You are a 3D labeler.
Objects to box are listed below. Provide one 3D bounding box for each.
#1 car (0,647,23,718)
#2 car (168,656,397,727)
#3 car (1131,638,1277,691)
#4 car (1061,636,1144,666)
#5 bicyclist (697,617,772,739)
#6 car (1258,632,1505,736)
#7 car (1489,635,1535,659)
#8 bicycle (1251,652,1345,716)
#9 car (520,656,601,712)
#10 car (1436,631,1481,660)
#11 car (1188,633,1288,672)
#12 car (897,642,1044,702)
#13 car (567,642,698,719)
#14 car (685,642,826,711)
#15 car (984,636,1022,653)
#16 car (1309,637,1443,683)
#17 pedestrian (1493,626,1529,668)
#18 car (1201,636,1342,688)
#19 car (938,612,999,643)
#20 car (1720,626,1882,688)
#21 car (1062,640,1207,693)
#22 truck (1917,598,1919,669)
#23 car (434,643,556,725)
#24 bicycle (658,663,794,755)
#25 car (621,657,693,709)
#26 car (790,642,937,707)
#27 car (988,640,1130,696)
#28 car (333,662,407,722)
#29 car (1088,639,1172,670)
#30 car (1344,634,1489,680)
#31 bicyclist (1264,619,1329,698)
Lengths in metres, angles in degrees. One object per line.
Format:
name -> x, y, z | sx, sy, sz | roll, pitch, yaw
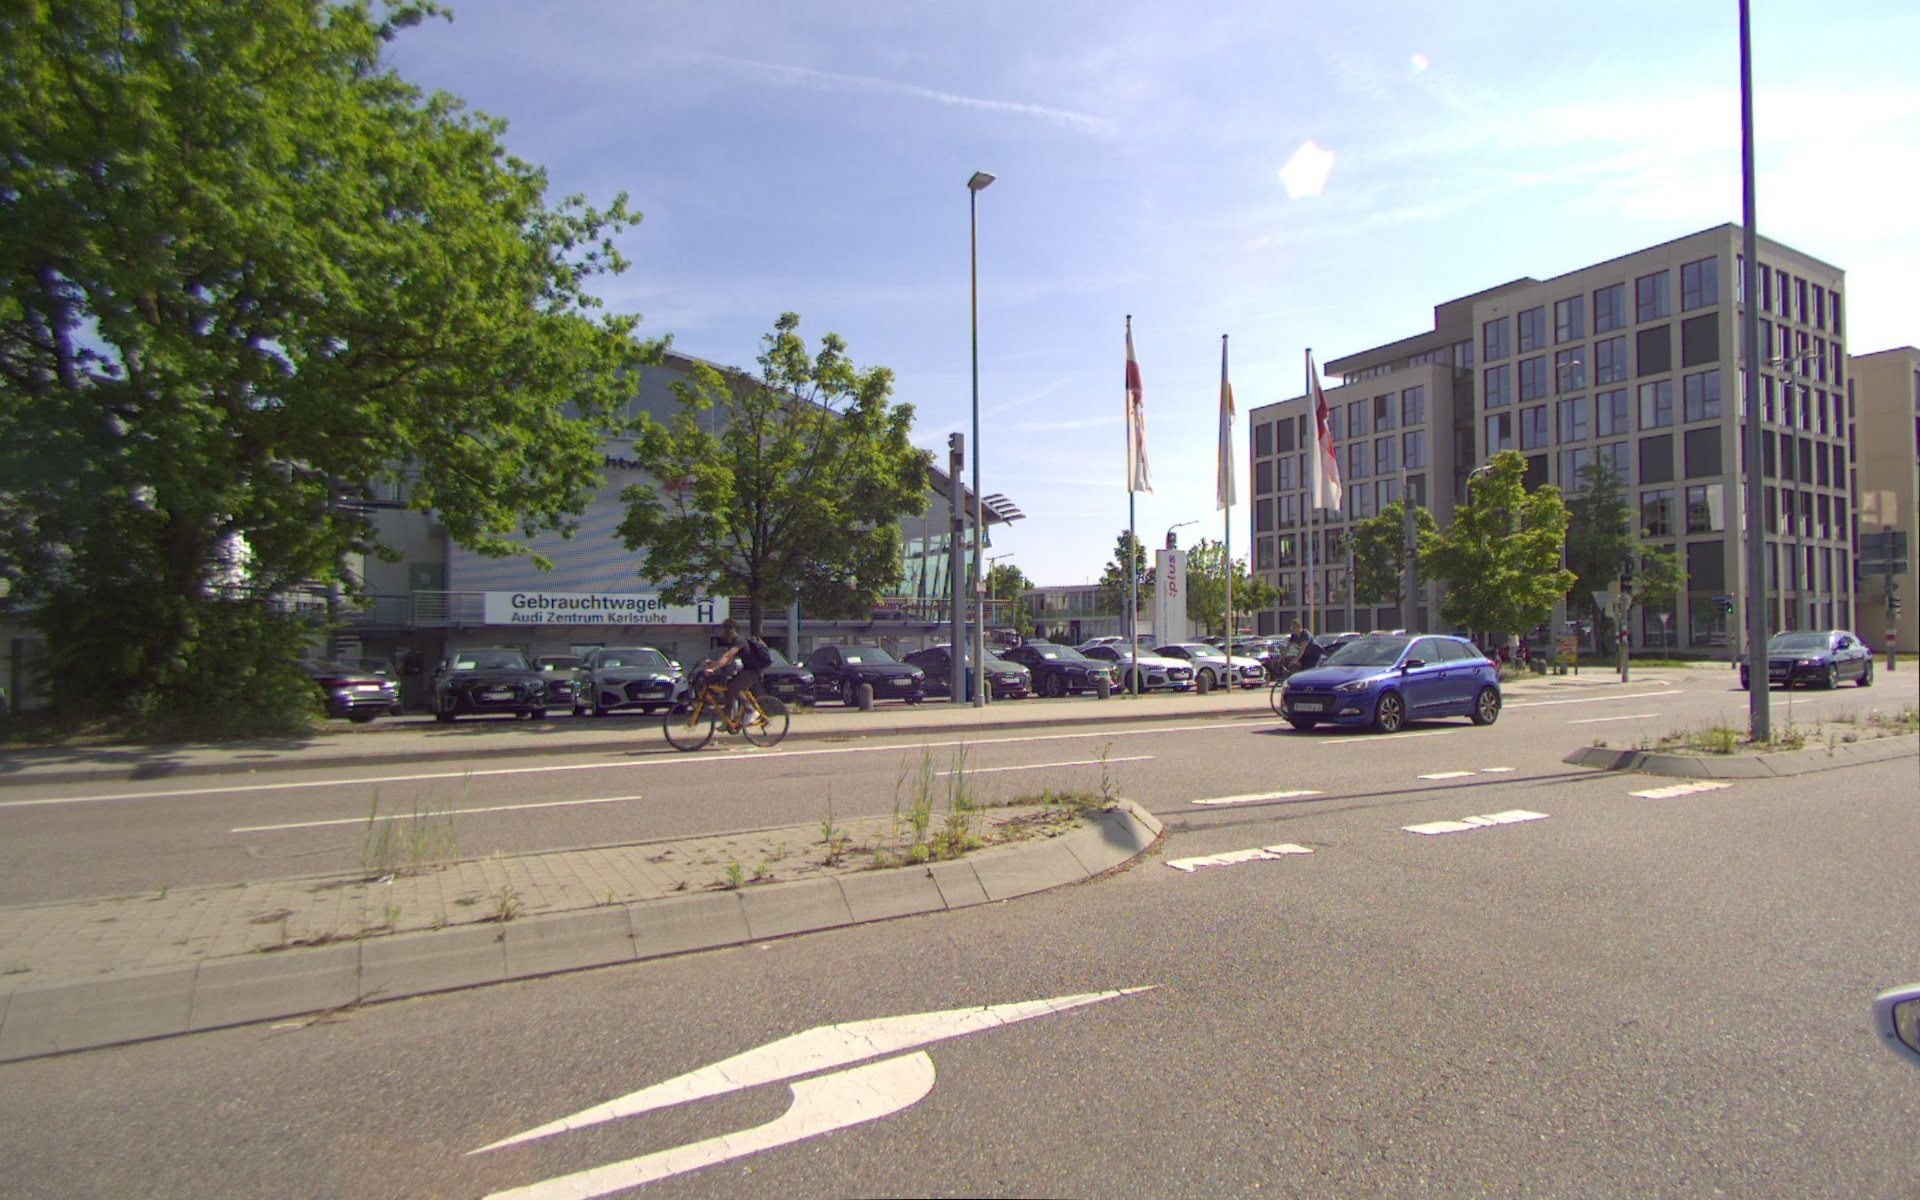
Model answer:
car -> -16.938, 1.337, 16.089 | 1.775, 1.242, 4.171 | 1, -5, -29
car -> -13.939, 1.867, 20.776 | 3.762, 1.350, 1.691 | -1, -2, 8
car -> 7.016, 1.913, 29.289 | 1.856, 1.387, 4.055 | 1, -5, -30
car -> 8.123, 2.867, 57.077 | 4.506, 1.461, 1.779 | -1, -2, -31
bicyclist -> -3.113, 1.061, 13.870 | 0.899, 1.617, 0.574 | 1, -3, -28
car -> 6.745, 1.275, 16.001 | 3.826, 1.457, 1.719 | 1, -4, -32
car -> 35.095, 2.992, 63.921 | 1.772, 1.434, 4.031 | -1, -2, 18
bicycle -> 6.603, 1.616, 19.592 | 1.900, 1.165, 0.569 | 1, -2, -28
car -> -12.156, 2.499, 30.453 | 1.783, 1.492, 3.800 | 1, -2, -30
car -> 33.228, 3.018, 67.084 | 1.860, 1.845, 4.816 | -1, -2, 16
car -> 13.164, 2.443, 47.475 | 4.721, 1.525, 1.779 | -2, -1, -31
car -> 0.162, 1.827, 25.262 | 1.833, 1.352, 4.157 | 1, -5, -30
car -> -6.932, 1.693, 20.961 | 1.781, 1.412, 4.198 | 1, -5, -30
car -> -4.654, 1.721, 22.398 | 1.814, 1.371, 4.091 | 1, -5, -31
car -> 5.049, 5.216, 117.714 | 4.189, 1.965, 1.885 | 1, -3, -30
car -> 13.704, 1.967, 33.312 | 1.744, 1.421, 3.815 | 1, -3, -31
pedestrian -> 23.341, 1.990, 42.558 | 0.906, 1.772, 0.996 | 1, -2, -30
car -> 9.880, 1.925, 31.758 | 4.373, 1.515, 1.790 | 1, -2, -30
car -> 0.540, 1.893, 68.918 | 2.066, 1.932, 4.509 | 5, -4, -31
car -> 21.888, 1.471, 26.105 | 4.612, 1.478, 1.837 | 1, -4, -32
car -> 4.768, 1.889, 27.962 | 1.846, 1.336, 3.971 | 1, -5, -30
truck -> 39.298, 1.281, 38.782 | 6.612, 2.659, 2.358 | 1, -2, -38
car -> -9.193, 1.641, 19.684 | 1.788, 1.420, 4.006 | 1, -5, -31
bicycle -> -3.209, 1.465, 13.806 | 1.747, 1.165, 0.569 | 1, -3, -28
car -> -9.724, 2.595, 32.105 | 1.505, 1.492, 3.493 | 1, -2, -29
car -> -2.389, 1.788, 23.817 | 1.809, 1.371, 4.261 | 1, -5, -31
car -> 2.517, 1.826, 26.477 | 1.815, 1.336, 3.972 | 1, -5, -29
car -> -16.469, 2.496, 27.985 | 1.671, 1.456, 3.797 | 1, -2, -32
car -> 9.247, 2.939, 54.596 | 4.351, 1.461, 1.779 | -2, -1, -31
car -> 15.697, 1.947, 34.802 | 1.876, 1.451, 4.357 | 1, -3, -28
bicyclist -> 6.553, 1.119, 19.579 | 1.129, 1.502, 0.568 | 1, -2, -28
